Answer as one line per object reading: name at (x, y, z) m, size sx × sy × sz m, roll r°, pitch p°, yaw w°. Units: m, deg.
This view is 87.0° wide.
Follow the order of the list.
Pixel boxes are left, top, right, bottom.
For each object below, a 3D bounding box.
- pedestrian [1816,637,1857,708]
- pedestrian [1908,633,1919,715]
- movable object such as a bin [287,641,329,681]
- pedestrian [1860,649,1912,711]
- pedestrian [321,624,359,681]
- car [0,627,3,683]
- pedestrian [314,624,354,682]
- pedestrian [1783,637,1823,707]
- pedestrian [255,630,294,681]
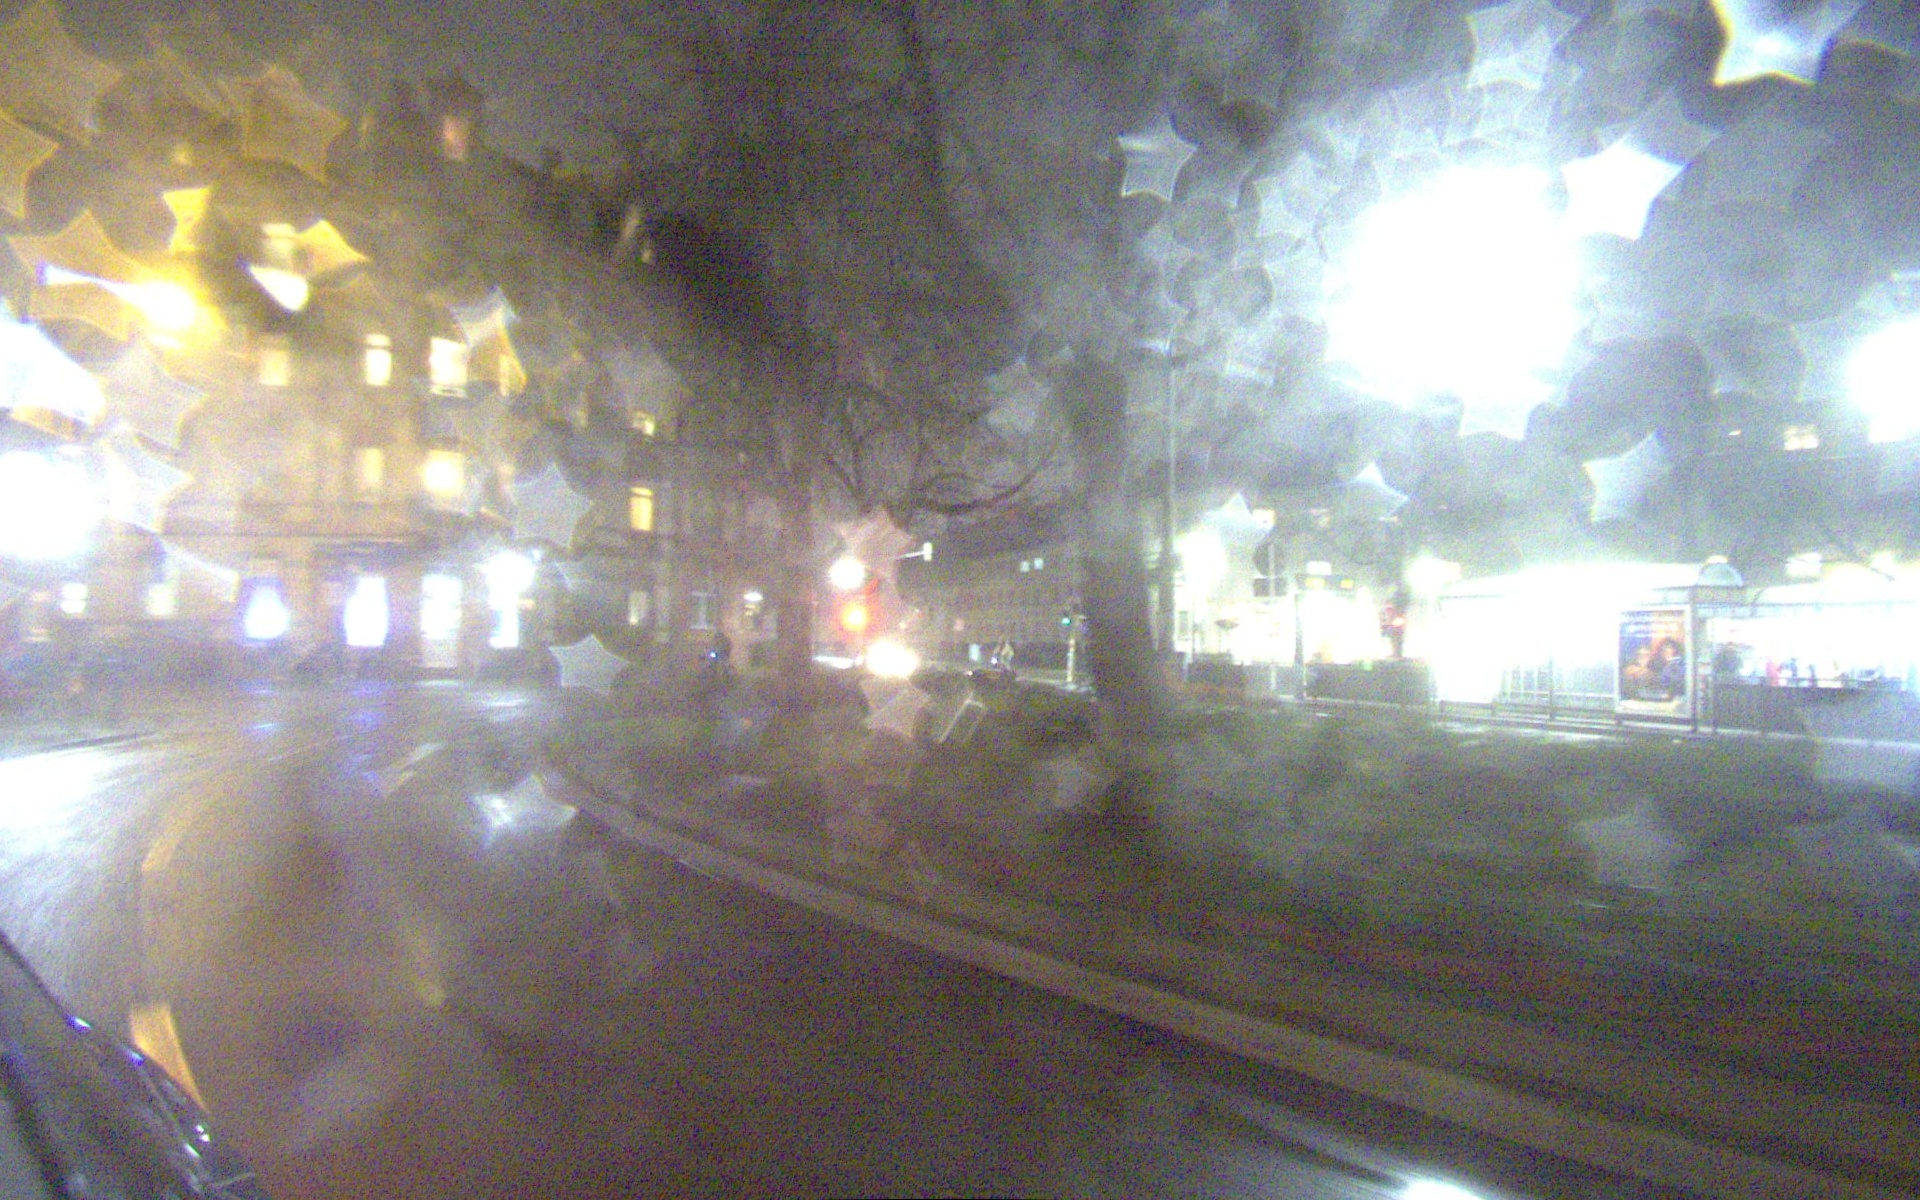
pedestrian at (19.510, 1.602, 22.530) m, size 0.472 × 1.540 × 0.587 m, roll -1°, pitch -1°, yaw -39°
pedestrian at (19.869, 1.504, 20.660) m, size 0.557 × 1.664 × 0.580 m, roll -2°, pitch -1°, yaw 25°
movable object such as a bin at (-19.396, 1.805, 30.103) m, size 0.907 × 1.124 × 0.636 m, roll -1°, pitch -1°, yaw -19°
pedestrian at (19.667, 1.695, 21.503) m, size 0.621 × 1.263 × 0.580 m, roll -2°, pitch -1°, yaw 25°
pedestrian at (-18.590, 1.559, 30.353) m, size 0.828 × 1.650 × 0.636 m, roll -1°, pitch -1°, yaw -19°
car at (-29.657, 1.557, 28.112) m, size 4.435 × 1.605 × 1.888 m, roll 0°, pitch -1°, yaw 1°
pedestrian at (-18.383, 1.549, 29.739) m, size 0.859 × 1.650 × 0.636 m, roll -1°, pitch -1°, yaw -19°
pedestrian at (19.128, 1.621, 22.968) m, size 0.503 × 1.559 × 0.576 m, roll -1°, pitch -1°, yaw -39°
pedestrian at (-21.055, 1.697, 31.078) m, size 0.758 × 1.505 × 0.634 m, roll -1°, pitch -1°, yaw 3°
